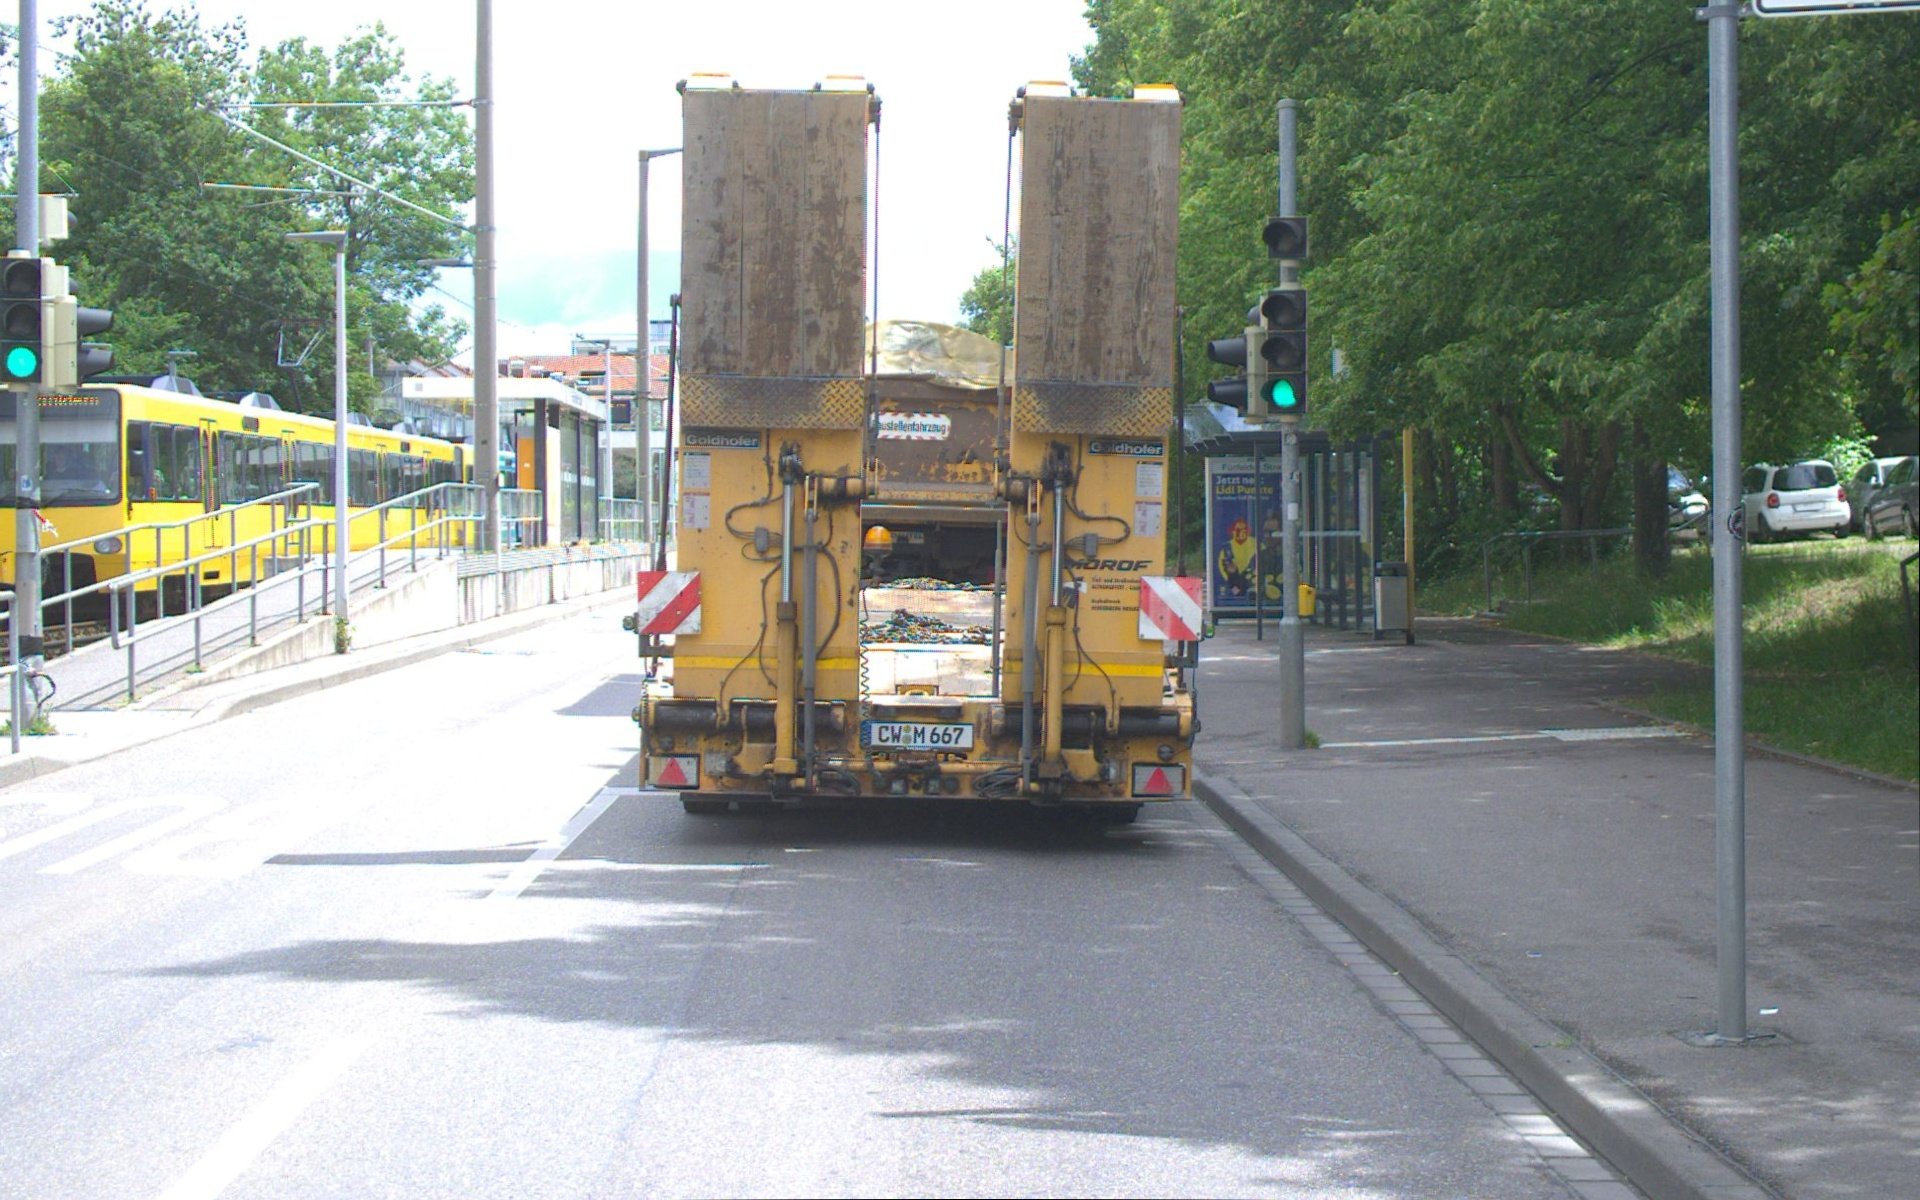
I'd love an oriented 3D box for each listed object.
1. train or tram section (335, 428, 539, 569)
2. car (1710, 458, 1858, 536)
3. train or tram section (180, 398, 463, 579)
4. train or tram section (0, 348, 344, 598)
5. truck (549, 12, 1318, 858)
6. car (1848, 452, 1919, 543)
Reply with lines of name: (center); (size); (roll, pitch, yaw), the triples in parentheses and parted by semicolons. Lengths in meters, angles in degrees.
train or tram section: (-14.270, -2.742, 95.690); (3.108, 3.453, 19.200); (2, 1, -1)
car: (16.214, -2.005, 67.790); (1.841, 1.415, 4.124); (-2, 1, -1)
train or tram section: (-13.838, -2.377, 76.623); (3.108, 3.453, 18.998); (2, 1, -1)
train or tram section: (-13.415, -1.996, 57.714); (3.108, 3.453, 18.828); (2, 1, -1)
truck: (-0.526, -0.874, 22.085); (3.402, 3.719, 13.741); (0, 1, -4)
car: (15.921, -1.693, 56.067); (1.613, 1.437, 4.353); (-3, 1, -1)
